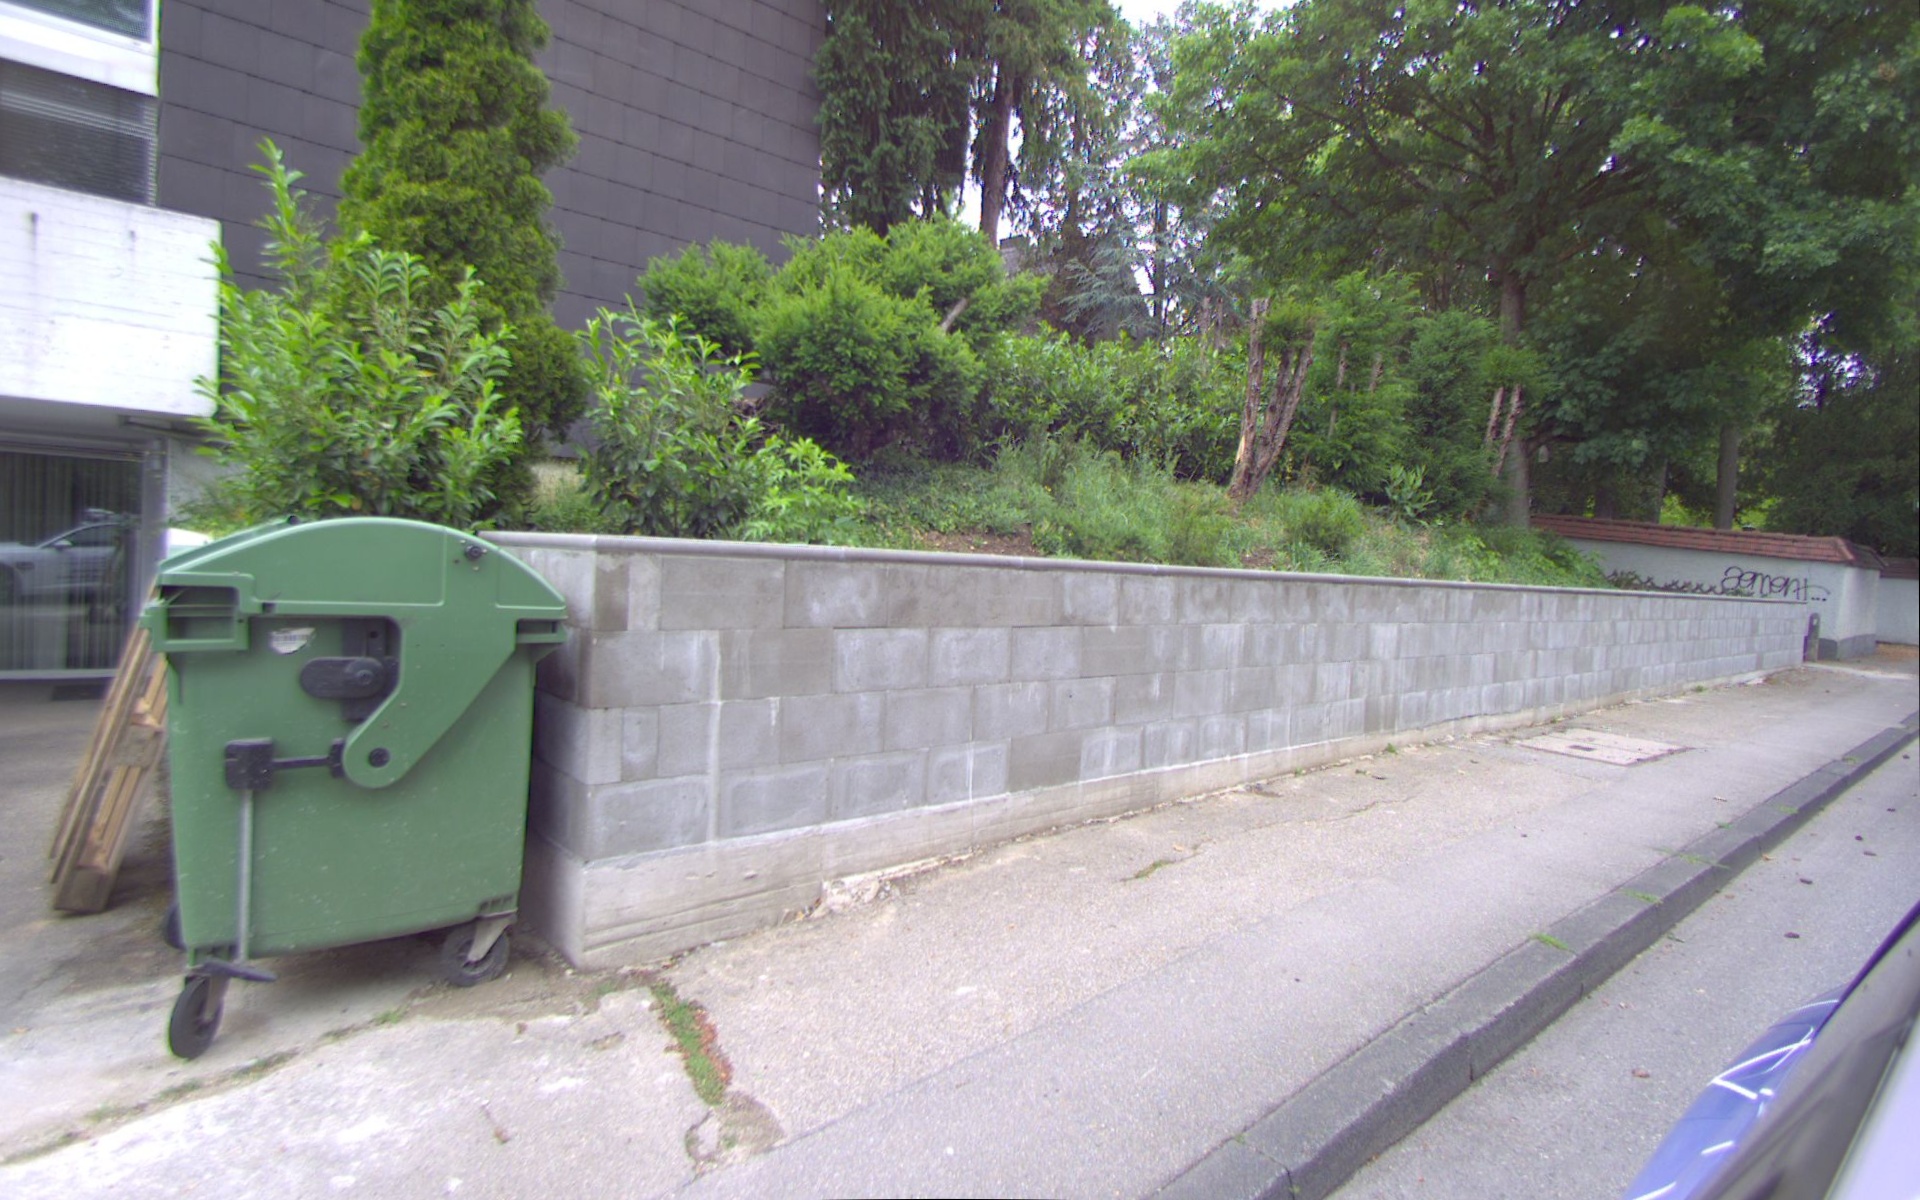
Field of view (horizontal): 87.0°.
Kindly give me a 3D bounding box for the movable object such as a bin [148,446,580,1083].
[{"bbox_3d":[-1.886,0.378,3.176,1.014,1.549,1.037,0,2,-39],"label":"movable object such as a bin"}]
